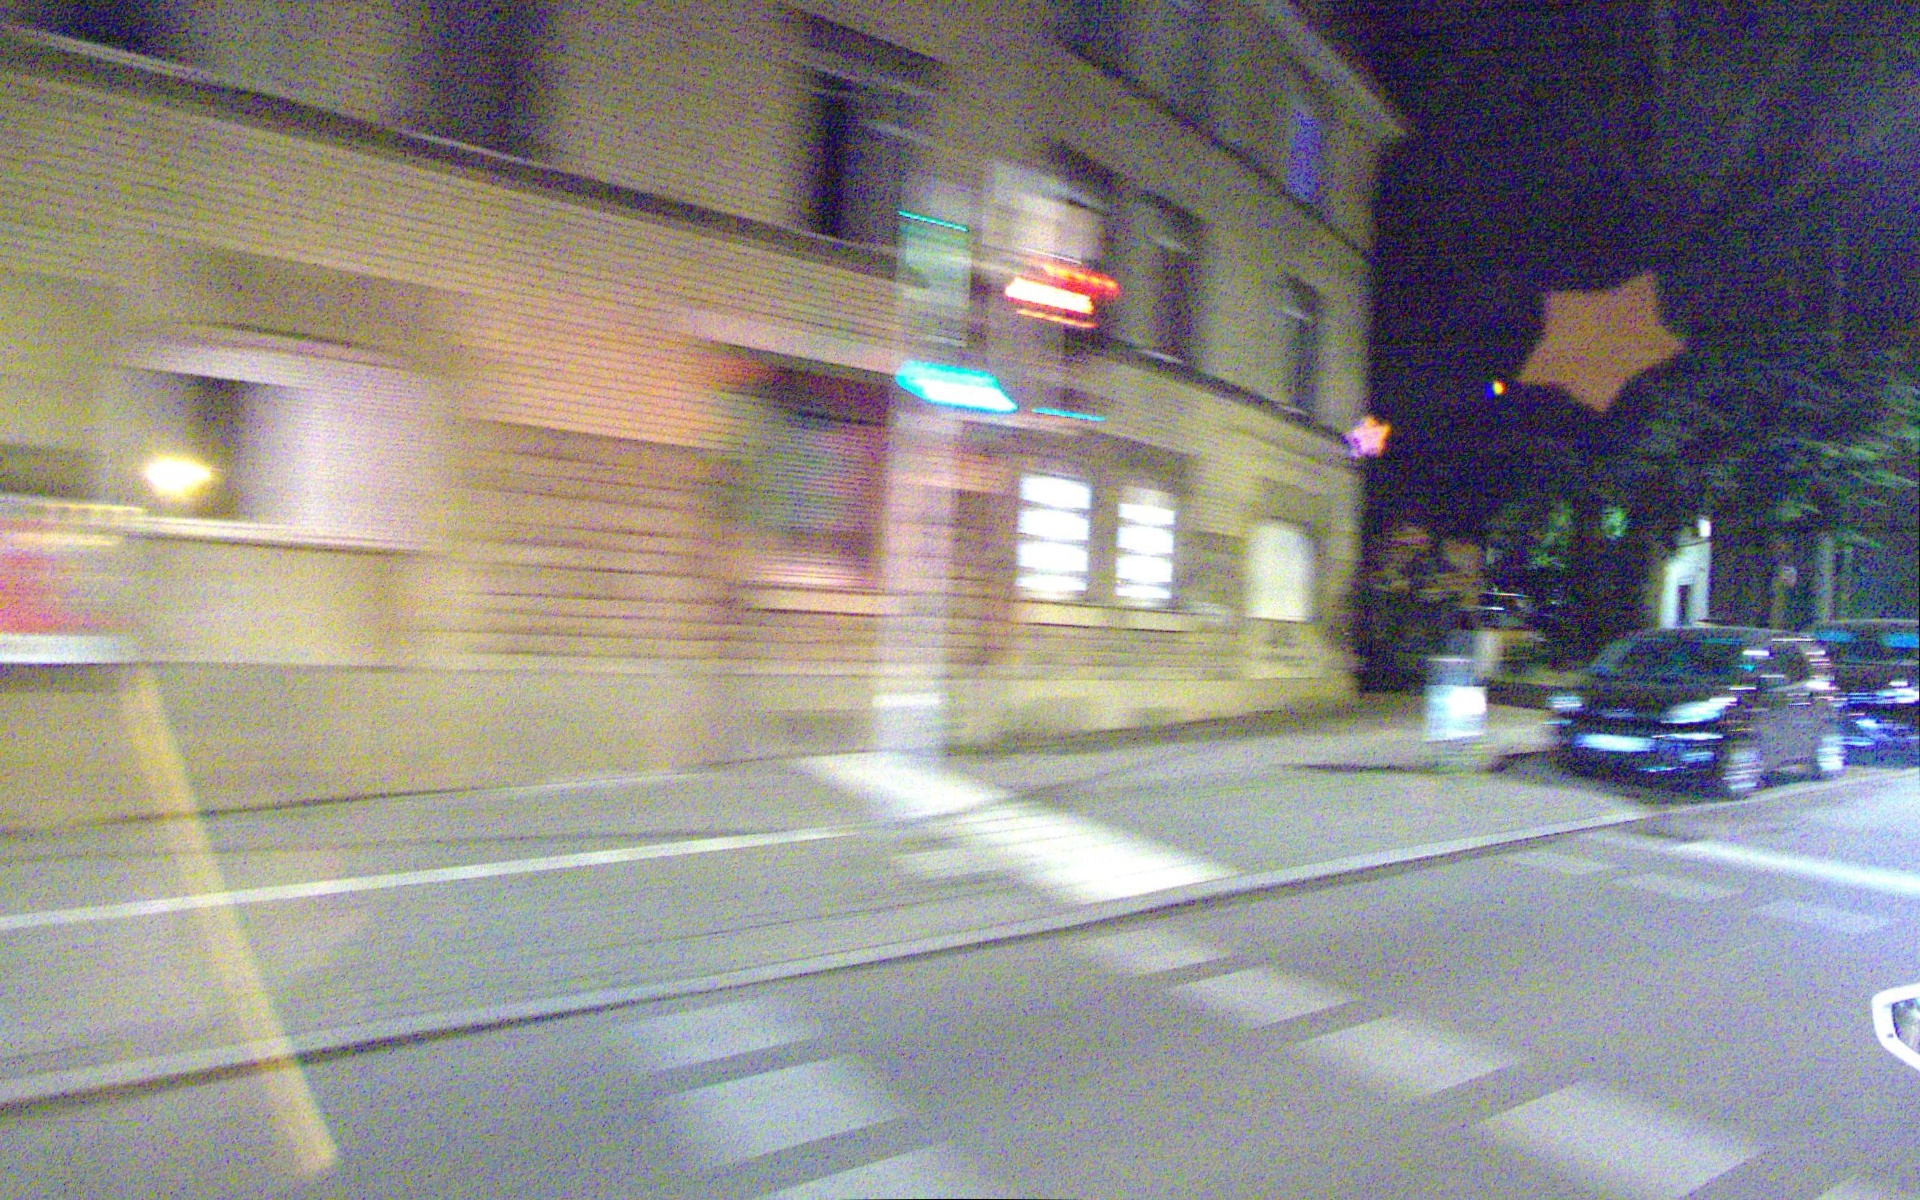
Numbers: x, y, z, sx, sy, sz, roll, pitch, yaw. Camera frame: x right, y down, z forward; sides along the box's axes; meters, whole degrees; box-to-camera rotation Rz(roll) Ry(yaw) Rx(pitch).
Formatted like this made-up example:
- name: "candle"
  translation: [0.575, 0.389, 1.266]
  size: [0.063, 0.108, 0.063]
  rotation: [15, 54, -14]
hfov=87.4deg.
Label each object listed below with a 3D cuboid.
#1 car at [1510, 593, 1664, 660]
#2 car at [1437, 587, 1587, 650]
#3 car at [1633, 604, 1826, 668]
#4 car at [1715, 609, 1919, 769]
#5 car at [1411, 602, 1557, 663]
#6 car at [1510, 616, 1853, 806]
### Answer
- name: "car"
  translation: [16.811, 0.722, 26.885]
  size: [4.140, 1.558, 1.747]
  rotation: [2, 3, -32]
- name: "car"
  translation: [16.440, 0.559, 29.940]
  size: [3.921, 1.628, 1.753]
  rotation: [3, 2, -21]
- name: "car"
  translation: [21.721, 0.981, 28.552]
  size: [1.735, 1.444, 3.981]
  rotation: [2, 2, -20]
- name: "car"
  translation: [11.786, 1.004, 12.960]
  size: [4.623, 1.672, 1.837]
  rotation: [1, 1, -34]
- name: "car"
  translation: [12.621, 0.786, 24.161]
  size: [3.524, 1.334, 1.547]
  rotation: [2, 1, -33]
- name: "car"
  translation: [7.381, 1.001, 10.193]
  size: [3.664, 1.535, 1.637]
  rotation: [2, 1, -34]
